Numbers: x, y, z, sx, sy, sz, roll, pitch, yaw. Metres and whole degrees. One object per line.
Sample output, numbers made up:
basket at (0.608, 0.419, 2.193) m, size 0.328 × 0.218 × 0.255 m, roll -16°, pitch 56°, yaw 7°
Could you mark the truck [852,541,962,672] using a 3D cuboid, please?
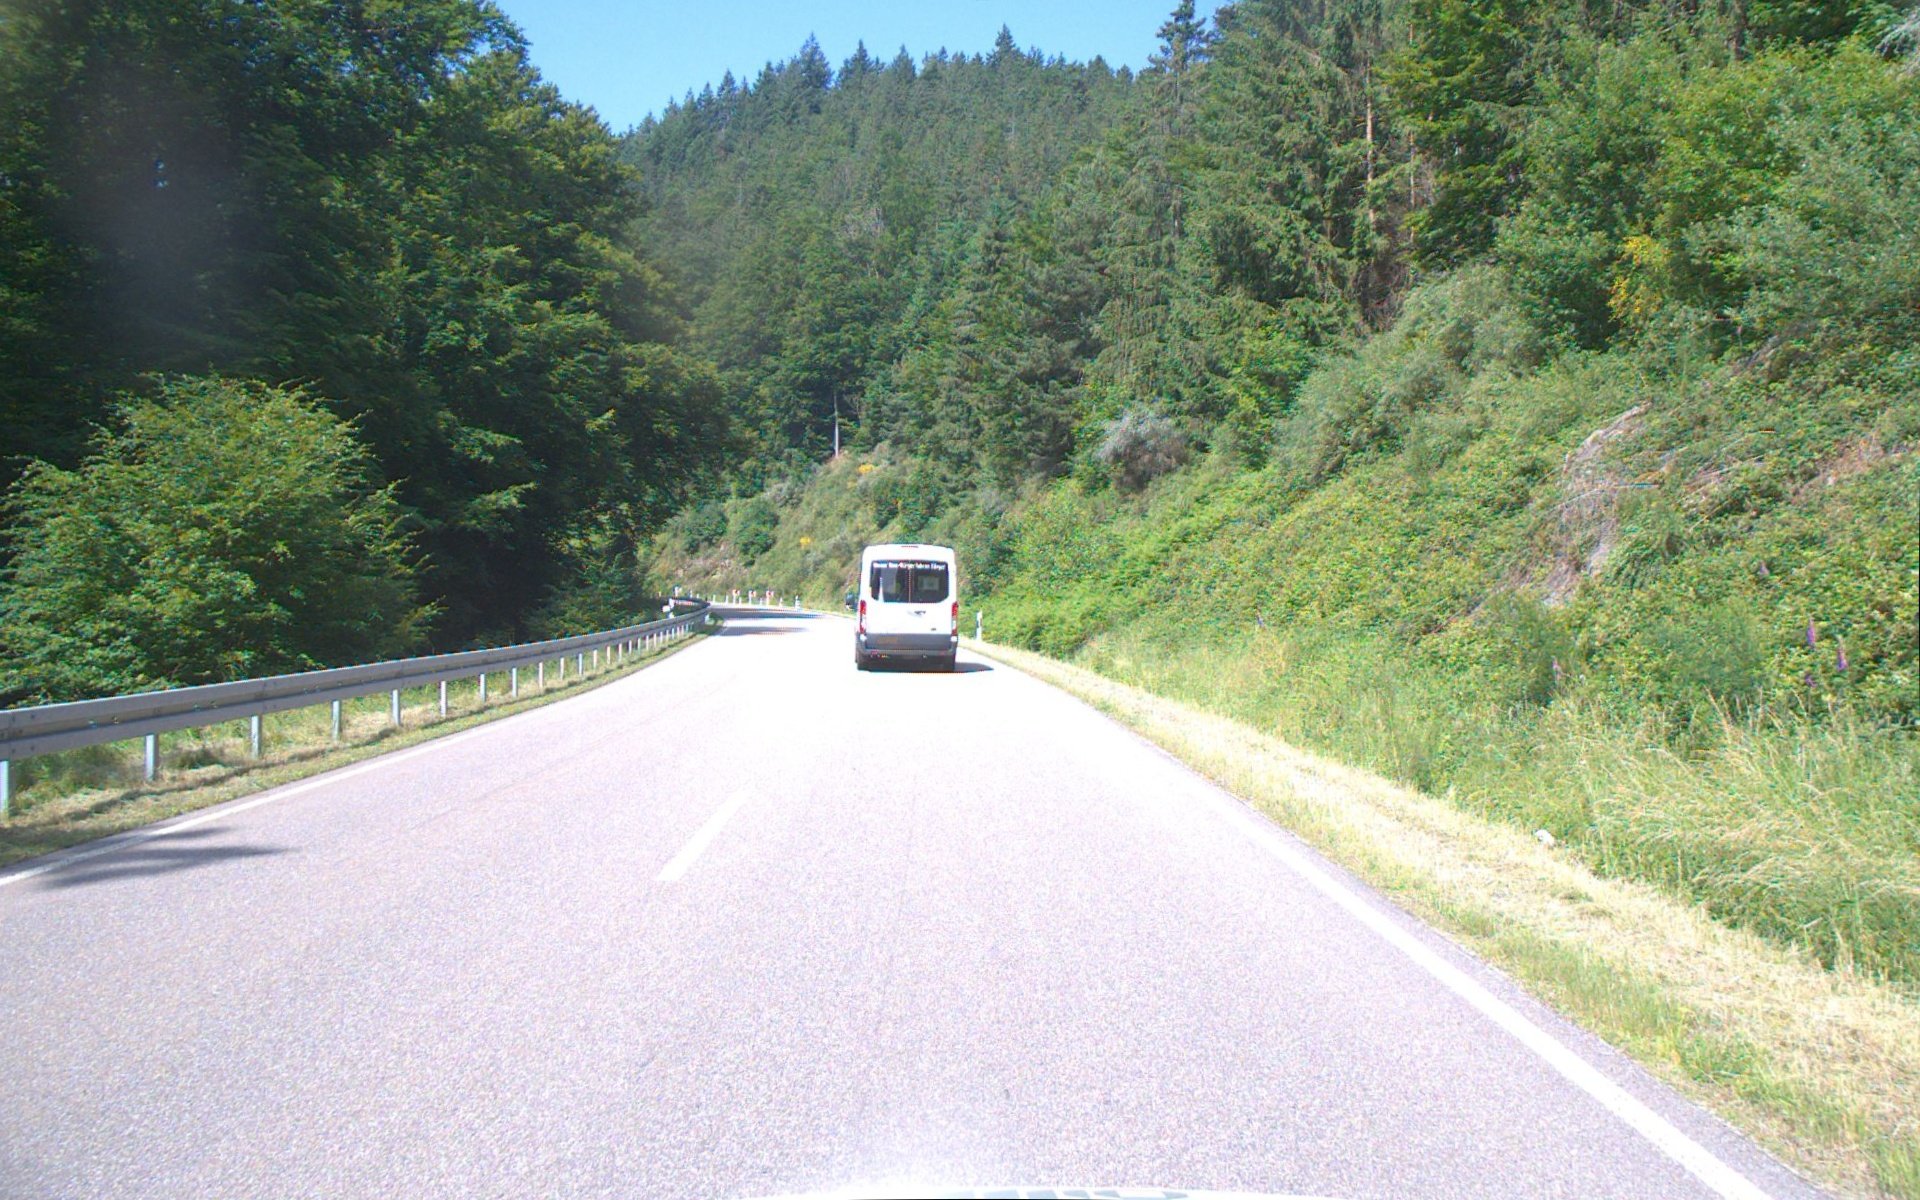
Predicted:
truck at (-1.177, 0.111, 34.300) m, size 2.043 × 2.502 × 4.870 m, roll 0°, pitch 0°, yaw -5°
